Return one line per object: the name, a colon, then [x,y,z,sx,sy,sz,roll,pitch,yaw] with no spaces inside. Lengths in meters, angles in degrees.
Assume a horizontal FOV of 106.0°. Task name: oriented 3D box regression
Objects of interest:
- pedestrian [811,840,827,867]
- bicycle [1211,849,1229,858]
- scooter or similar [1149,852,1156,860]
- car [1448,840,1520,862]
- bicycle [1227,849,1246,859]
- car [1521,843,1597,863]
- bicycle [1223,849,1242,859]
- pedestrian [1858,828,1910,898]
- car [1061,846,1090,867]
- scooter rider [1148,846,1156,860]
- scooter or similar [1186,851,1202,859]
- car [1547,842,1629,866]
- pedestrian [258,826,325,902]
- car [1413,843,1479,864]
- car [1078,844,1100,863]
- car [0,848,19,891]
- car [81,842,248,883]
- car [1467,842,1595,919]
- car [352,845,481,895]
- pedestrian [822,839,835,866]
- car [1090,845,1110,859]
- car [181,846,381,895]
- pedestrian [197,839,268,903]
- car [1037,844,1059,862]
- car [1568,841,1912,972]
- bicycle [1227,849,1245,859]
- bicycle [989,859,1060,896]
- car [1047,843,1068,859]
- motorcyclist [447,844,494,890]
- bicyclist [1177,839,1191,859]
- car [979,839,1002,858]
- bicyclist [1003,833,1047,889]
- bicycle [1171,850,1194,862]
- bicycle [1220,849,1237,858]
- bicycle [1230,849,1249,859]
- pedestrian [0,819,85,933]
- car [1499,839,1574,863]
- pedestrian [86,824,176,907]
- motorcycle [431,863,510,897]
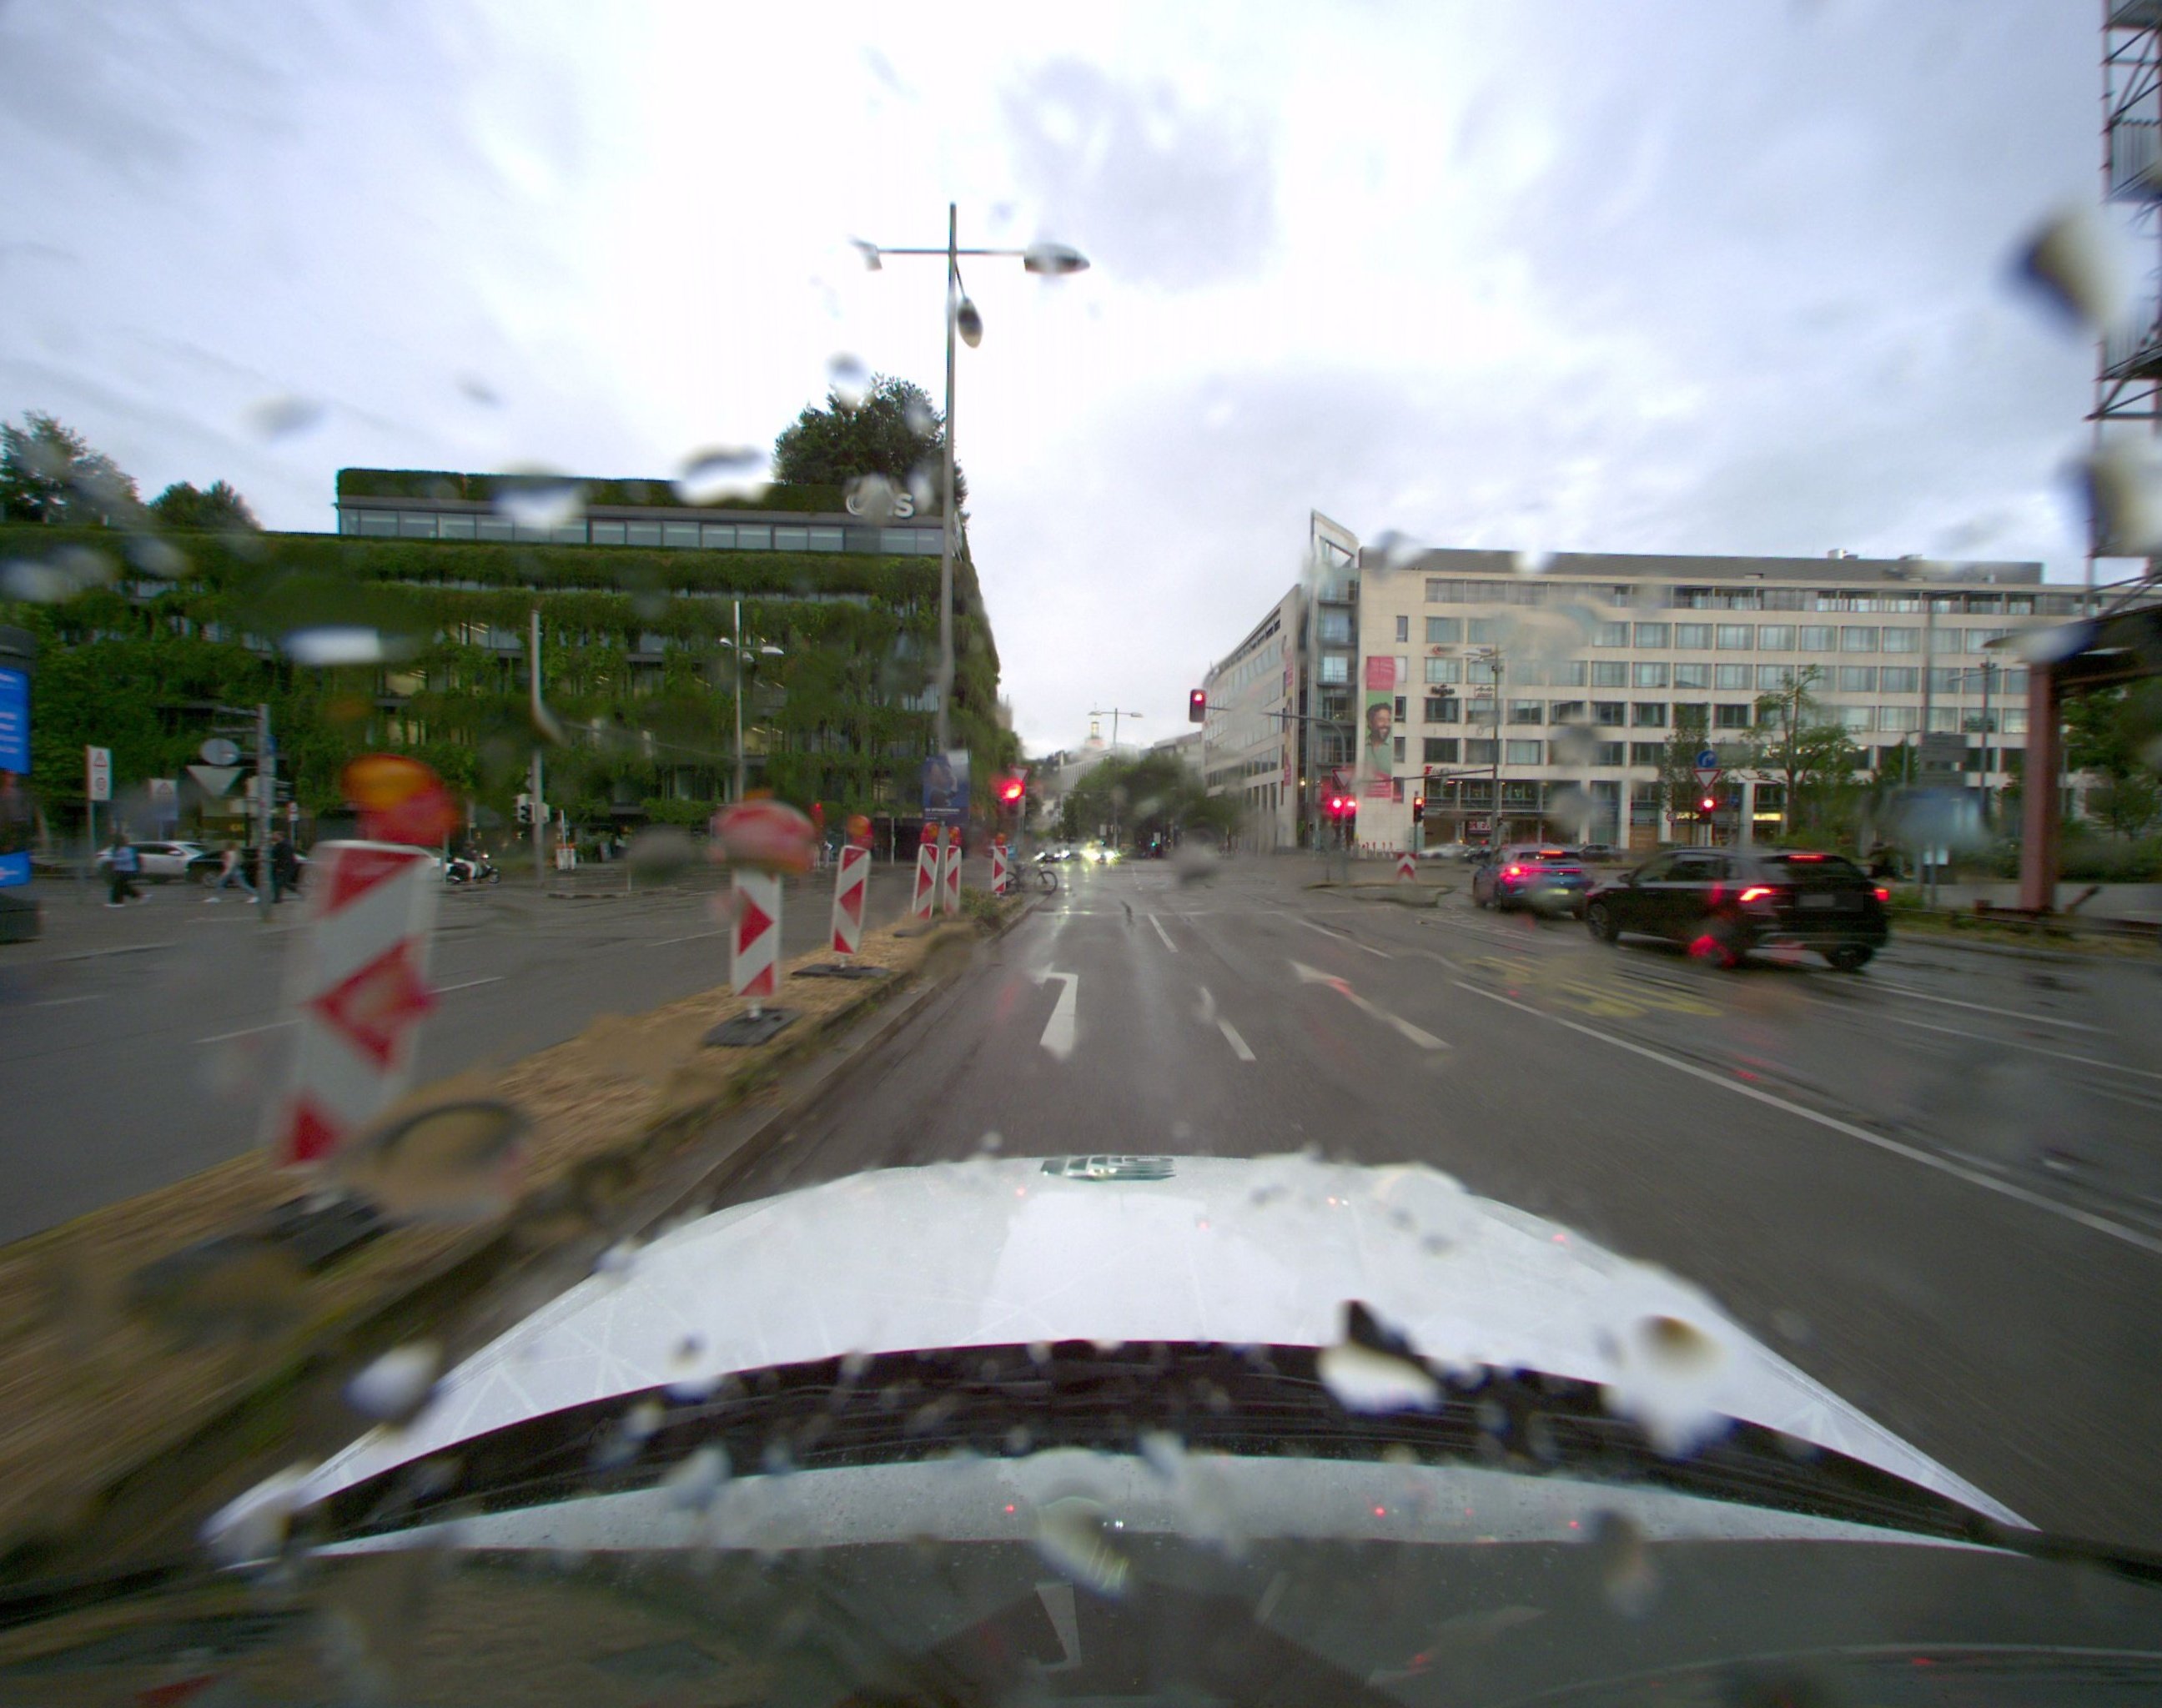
pedestrian: [-17.247,-0.051,53.536,0.939,1.758,1.163,0,0,-22]
bicycle: [14.868,-0.032,87.184,1.786,0.934,0.476,0,0,4]
scooter or similar: [8.880,0.265,101.740,0.555,1.007,1.820,0,0,-6]
car: [29.672,-0.221,59.983,4.451,1.598,1.993,0,0,-10]
bicycle: [15.310,-0.035,80.246,1.778,0.934,0.478,0,1,43]
car: [31.791,-0.078,54.164,4.455,1.348,1.715,0,0,-13]
bicycle: [14.651,-0.023,78.653,1.778,0.934,0.478,0,1,43]
pedestrian: [21.688,0.229,22.012,0.673,1.852,1.062,0,0,24]
car: [-0.466,0.185,62.156,1.989,1.550,4.551,0,1,-3]
scooter rider: [8.869,-0.140,101.765,0.761,1.774,0.794,0,0,-6]
scooter or similar: [13.126,0.154,94.390,1.750,0.878,0.486,0,0,-18]
car: [31.642,0.000,50.857,4.452,1.464,1.716,0,0,-11]
pedestrian: [-19.922,0.236,20.571,0.781,1.885,0.898,0,0,1]
car: [28.378,-0.073,63.330,4.455,1.598,1.991,0,0,-14]
car: [0.752,-0.098,77.389,1.957,1.655,4.365,-1,2,0]
car: [-42.874,0.595,30.082,4.089,1.652,1.992,0,-1,-11]
car: [-35.099,0.304,31.317,3.893,1.523,1.865,0,0,-11]
car: [10.160,0.511,18.712,1.690,1.529,4.446,0,1,17]
car: [-26.699,0.600,32.850,3.450,1.922,1.993,0,0,-11]
pedestrian: [-16.678,-0.080,53.690,0.744,1.758,0.969,0,0,-22]
car: [2.126,-0.218,90.617,1.988,1.443,4.554,-1,2,-1]
car: [-28.714,0.549,29.421,4.805,1.652,1.963,0,0,-12]
pedestrian: [-21.681,0.421,20.824,0.828,1.585,0.923,0,0,2]
car: [-2.930,-0.113,72.758,1.852,1.448,4.617,0,1,-2]
car: [8.963,0.594,11.625,1.770,1.540,4.151,0,0,4]
bicycle: [15.372,0.000,80.990,1.778,0.934,0.478,0,1,43]
bicycle: [-1.733,0.703,24.922,2.142,1.103,0.846,0,0,-6]
car: [-2.307,-0.287,79.374,1.853,1.448,4.614,0,1,-4]
motorcyclist: [-23.089,0.469,30.817,1.187,1.703,0.844,0,0,-15]
bicyclist: [10.048,-0.489,79.646,0.798,1.975,1.101,0,0,-39]
car: [-9.233,-0.570,83.332,1.989,1.895,4.461,0,1,-2]
bicyclist: [-1.718,0.205,24.937,1.293,1.704,0.847,0,0,-6]
bicycle: [9.943,0.177,79.798,0.798,1.117,2.230,0,0,-39]
bicycle: [15.435,-0.026,85.320,1.786,0.934,0.476,0,0,4]
bicycle: [15.441,-0.032,79.276,1.778,0.934,0.478,0,1,43]
pedestrian: [-18.178,0.375,14.086,0.809,1.885,0.859,-4,1,-24]
car: [32.138,-0.225,57.505,4.455,1.598,1.991,0,0,-13]
pedestrian: [-21.880,0.252,18.782,1.019,1.854,0.876,0,0,-3]
motorcycle: [-23.072,0.979,30.823,2.231,1.210,0.844,0,0,-15]
